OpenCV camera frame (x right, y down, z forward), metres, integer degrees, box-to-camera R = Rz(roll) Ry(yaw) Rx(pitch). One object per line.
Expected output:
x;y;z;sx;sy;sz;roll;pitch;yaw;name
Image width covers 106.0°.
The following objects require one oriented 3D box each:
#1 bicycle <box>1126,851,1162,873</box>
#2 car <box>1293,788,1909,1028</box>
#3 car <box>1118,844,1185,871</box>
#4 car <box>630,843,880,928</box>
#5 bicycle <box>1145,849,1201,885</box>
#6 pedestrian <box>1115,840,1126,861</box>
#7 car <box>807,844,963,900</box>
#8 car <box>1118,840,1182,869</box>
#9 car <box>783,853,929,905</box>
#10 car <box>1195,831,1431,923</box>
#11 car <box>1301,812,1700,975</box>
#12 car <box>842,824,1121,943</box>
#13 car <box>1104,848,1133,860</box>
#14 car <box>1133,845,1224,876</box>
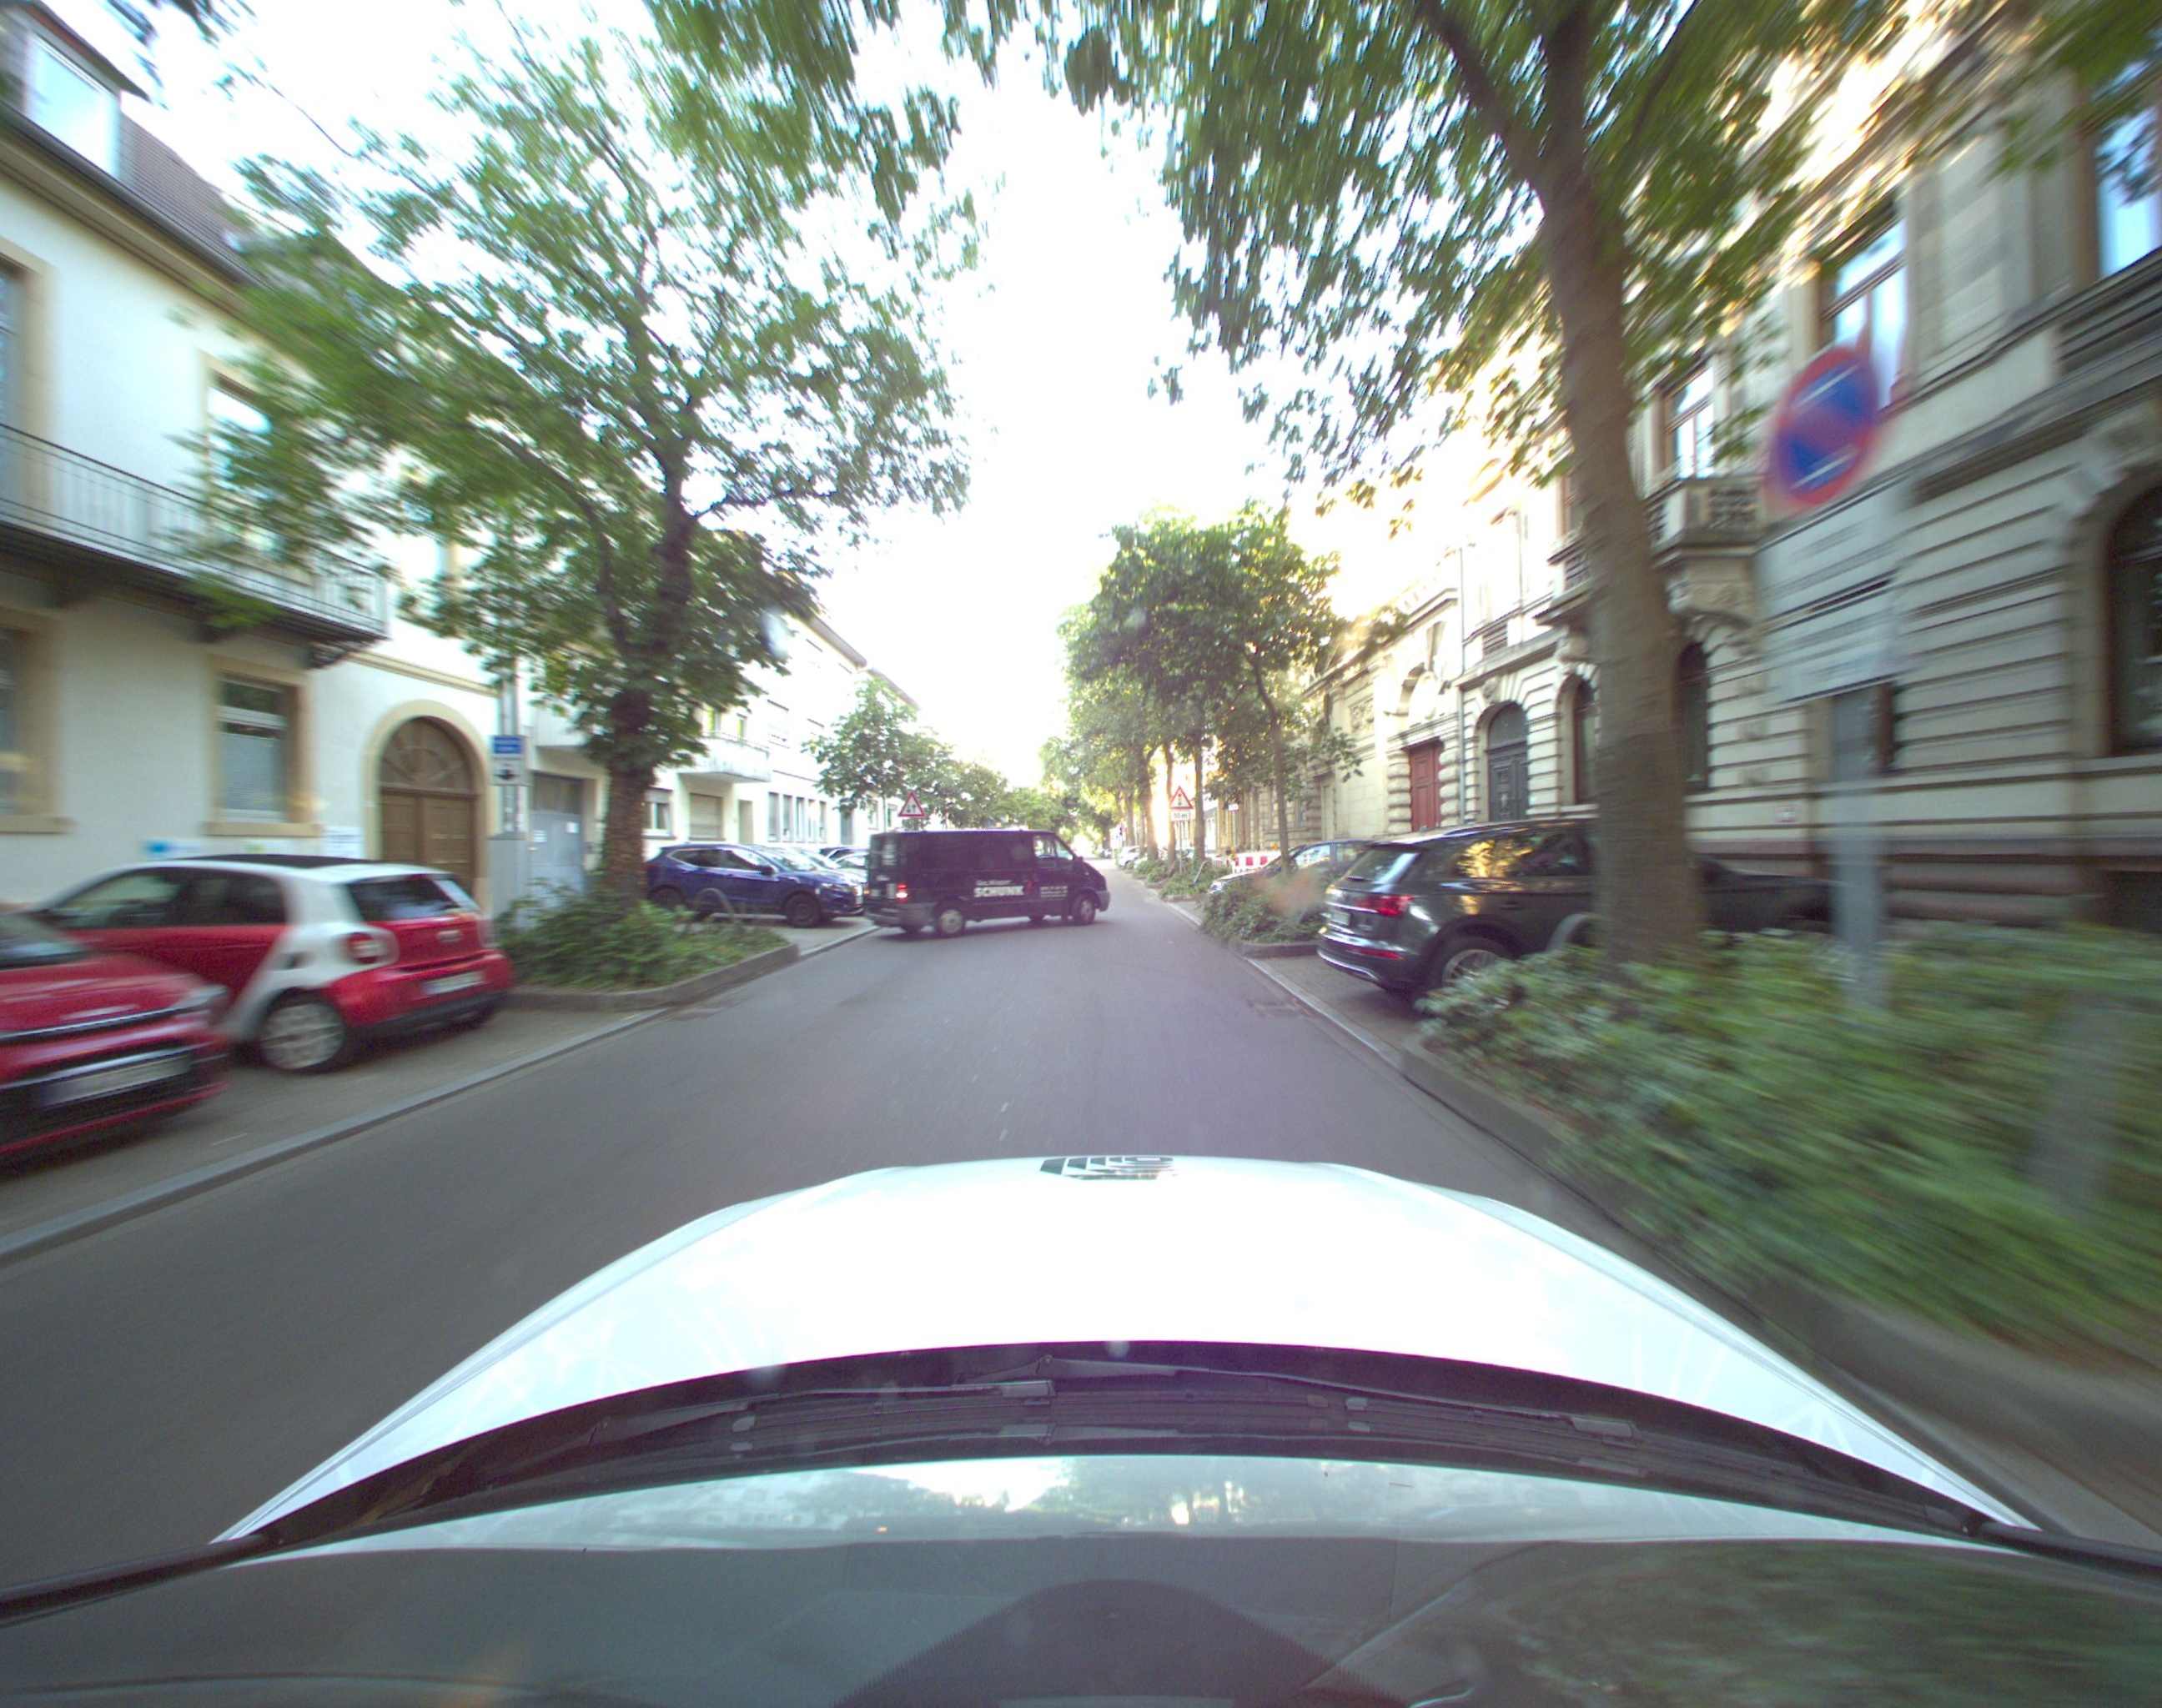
3.722;0.461;48.172;2.021;1.204;0.486;-4;0;-13;bicycle
4.462;0.440;7.566;4.425;1.717;1.968;-3;-1;0;car
4.544;0.199;52.899;4.207;1.560;1.972;-2;1;3;car
-6.615;0.616;16.886;4.340;1.573;1.930;1;0;0;car
3.459;0.477;30.705;2.041;1.360;0.508;0;0;-2;bicycle
3.982;-0.370;82.581;1.040;2.146;1.063;0;-1;0;pedestrian
-6.420;0.555;27.120;4.651;1.765;2.156;0;0;-1;car
5.082;0.014;60.513;4.529;1.914;1.949;-2;0;-3;car
-6.676;0.713;24.483;3.832;1.450;1.855;0;1;0;car
4.605;0.442;16.630;4.210;1.481;1.854;-4;0;0;car
4.967;0.432;10.045;3.994;1.687;1.765;-2;1;0;car
-1.888;0.445;16.150;5.026;1.990;2.167;-2;1;-34;car
5.498;-0.004;119.096;4.179;1.480;1.852;-3;0;0;car
5.034;0.335;42.624;4.566;1.437;1.926;-2;0;2;car
